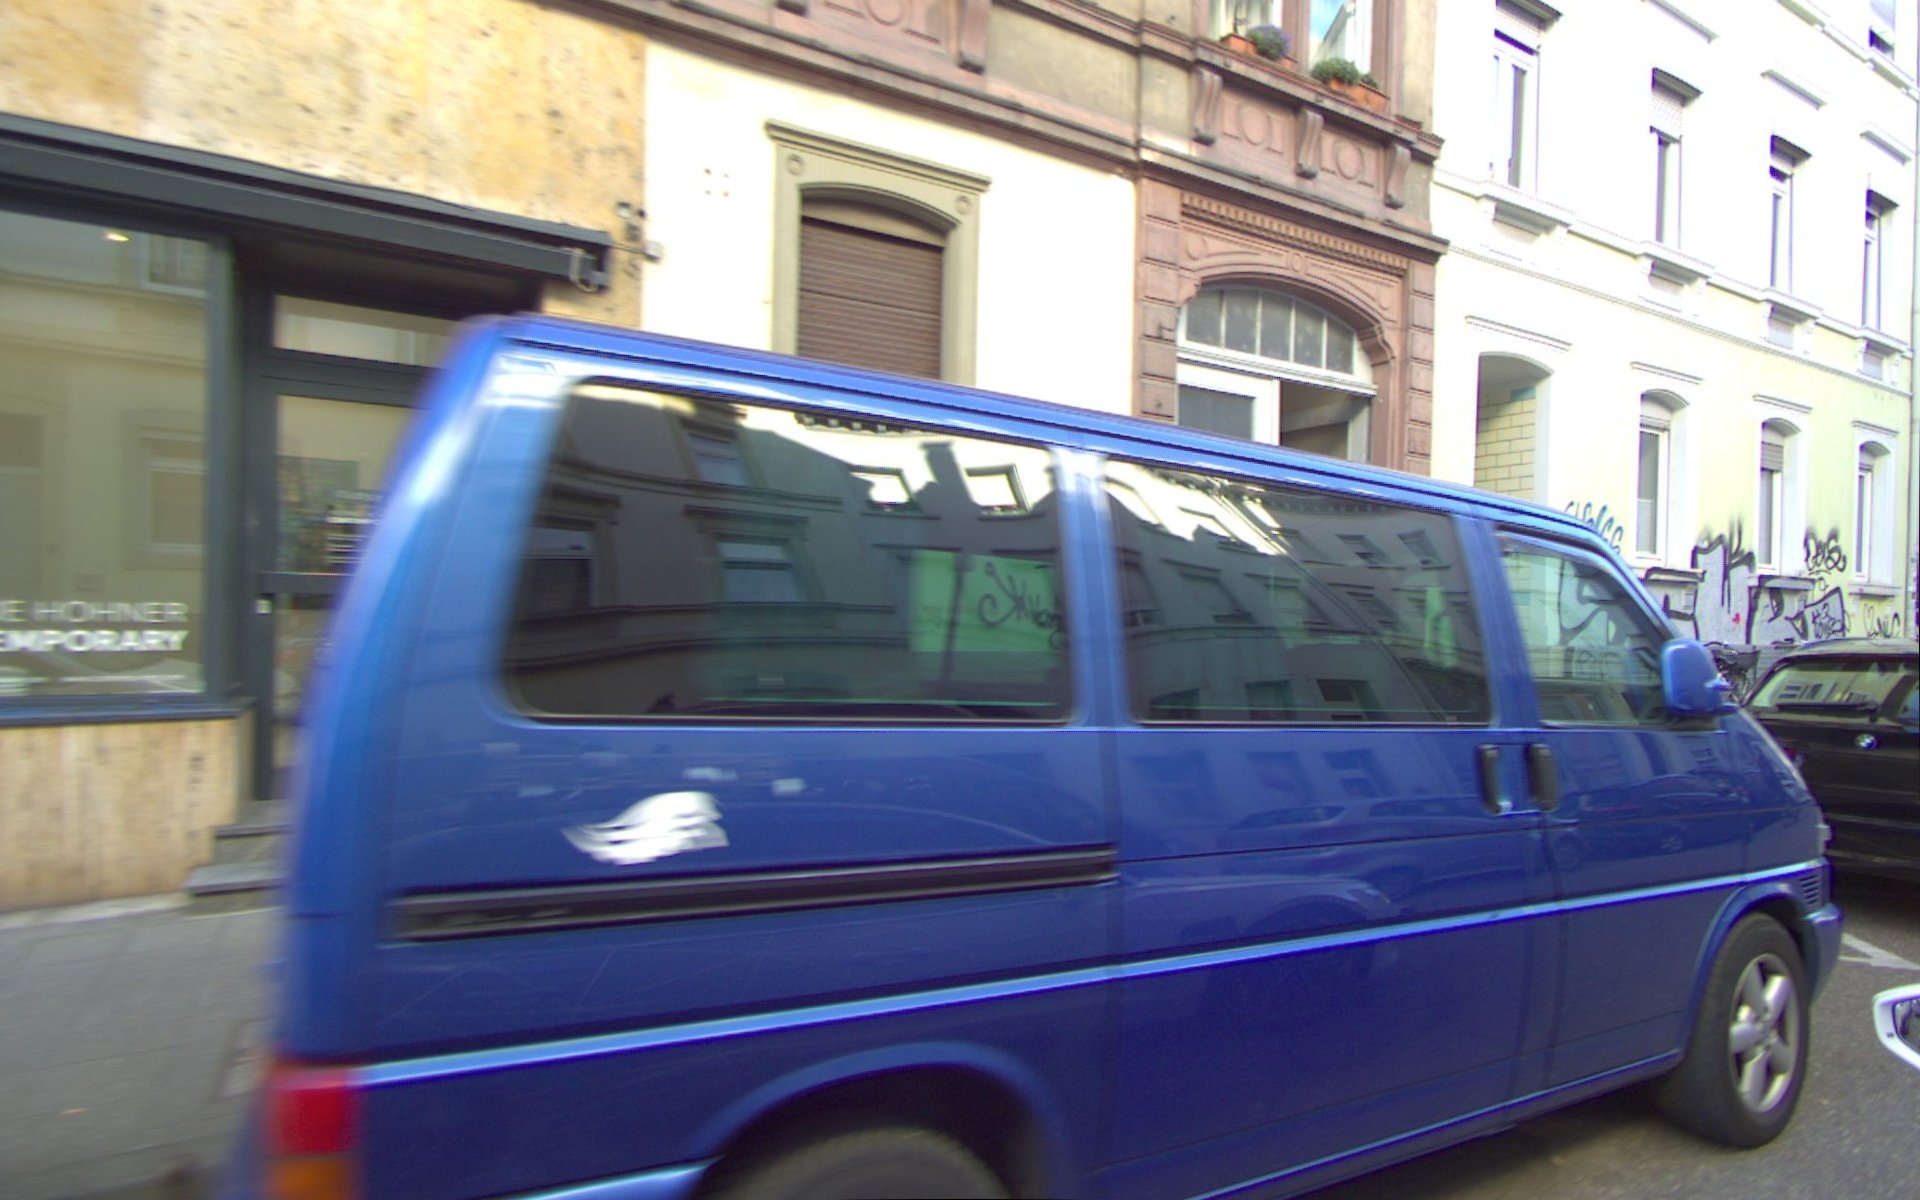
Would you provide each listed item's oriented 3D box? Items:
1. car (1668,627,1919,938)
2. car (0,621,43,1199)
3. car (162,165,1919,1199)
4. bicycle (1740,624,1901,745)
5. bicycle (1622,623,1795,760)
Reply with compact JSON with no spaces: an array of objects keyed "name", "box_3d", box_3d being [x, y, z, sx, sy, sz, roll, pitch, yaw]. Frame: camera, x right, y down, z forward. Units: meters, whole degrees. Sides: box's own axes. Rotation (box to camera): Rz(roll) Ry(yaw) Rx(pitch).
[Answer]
[{"name":"car","box_3d":[6.491,0.921,6.208,4.593,1.459,1.852,1,-1,-32]},{"name":"car","box_3d":[-3.187,0.737,0.460,3.796,1.466,1.637,1,-1,-32]},{"name":"car","box_3d":[0.717,0.578,2.967,4.559,1.916,1.819,1,-3,-30]},{"name":"bicycle","box_3d":[10.046,0.942,11.702,2.300,1.262,0.664,1,3,-31]},{"name":"bicycle","box_3d":[7.775,0.898,10.414,2.062,1.288,0.670,1,0,-30]}]
